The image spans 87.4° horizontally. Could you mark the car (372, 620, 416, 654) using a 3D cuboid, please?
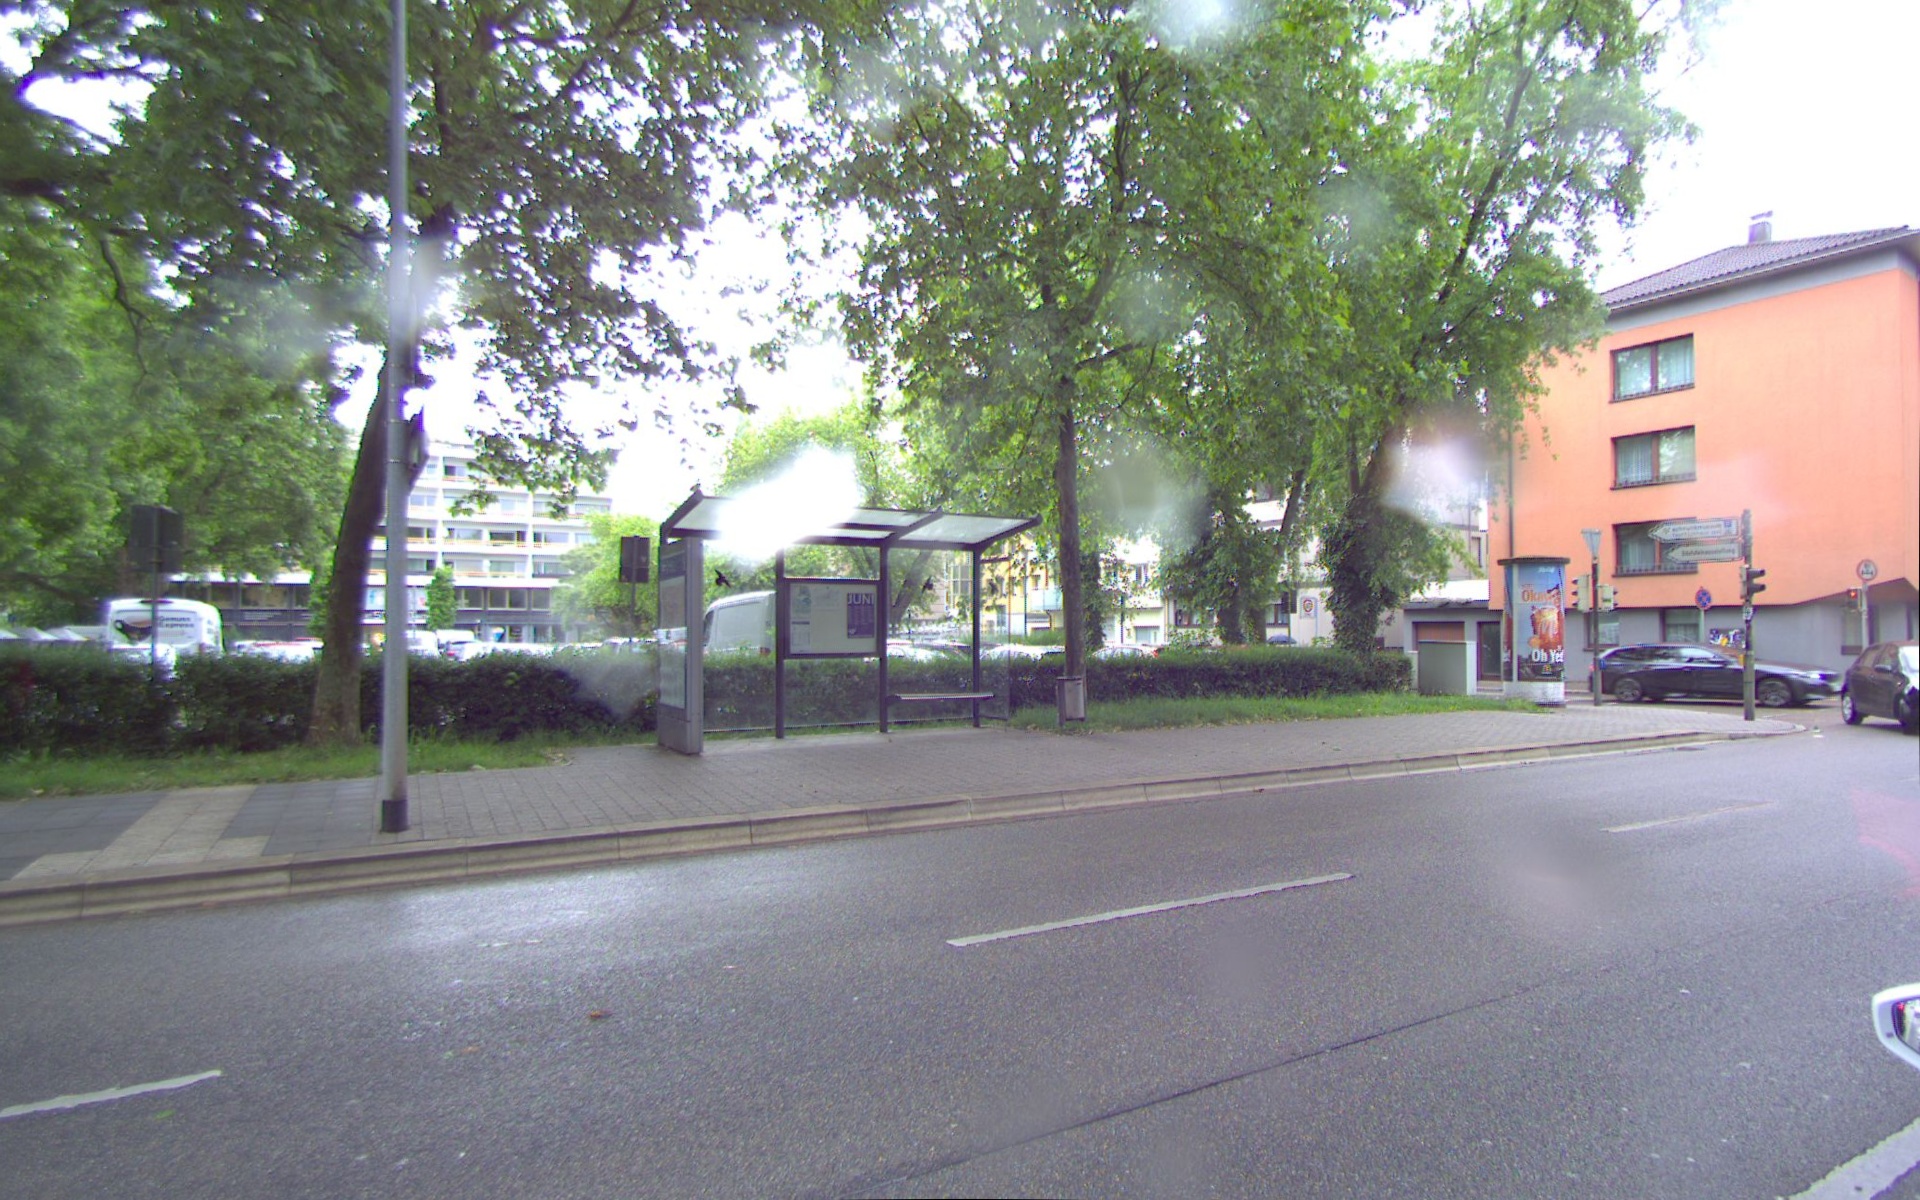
[{"bbox_3d":[-32.500,2.103,57.603,2.075,1.745,3.966,2,0,-31],"label":"car"}]

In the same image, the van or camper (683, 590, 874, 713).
[{"bbox_3d":[-3.498,0.909,18.600,1.978,1.975,4.572,1,-2,-31],"label":"van or camper"}]

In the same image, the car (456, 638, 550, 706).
[{"bbox_3d":[-12.533,1.889,27.403,1.876,1.506,3.966,2,0,-31],"label":"car"}]

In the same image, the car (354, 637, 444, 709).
[{"bbox_3d":[-14.627,1.826,26.110,1.876,1.506,3.966,2,0,-31],"label":"car"}]

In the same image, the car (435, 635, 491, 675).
[{"bbox_3d":[-22.130,2.411,44.680,1.876,1.506,3.966,2,0,-31],"label":"car"}]

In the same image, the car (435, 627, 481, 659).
[{"bbox_3d":[-26.989,2.268,53.934,1.876,1.506,3.966,2,0,-31],"label":"car"}]

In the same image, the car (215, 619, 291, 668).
[{"bbox_3d":[-25.073,1.514,35.730,1.876,1.506,3.966,2,0,-31],"label":"car"}]

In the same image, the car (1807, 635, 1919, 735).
[{"bbox_3d":[16.413,1.389,17.112,1.766,1.553,3.868,-1,-3,20],"label":"car"}]

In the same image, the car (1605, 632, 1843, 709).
[{"bbox_3d":[18.414,1.653,24.398,1.711,1.700,4.272,1,-3,-35],"label":"car"}]

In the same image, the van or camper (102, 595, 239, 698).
[{"bbox_3d":[-20.643,1.205,26.480,2.073,2.463,4.310,1,-2,-28],"label":"van or camper"}]

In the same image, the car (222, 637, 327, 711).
[{"bbox_3d":[-16.877,1.758,24.893,1.876,1.506,3.966,2,0,-31],"label":"car"}]
